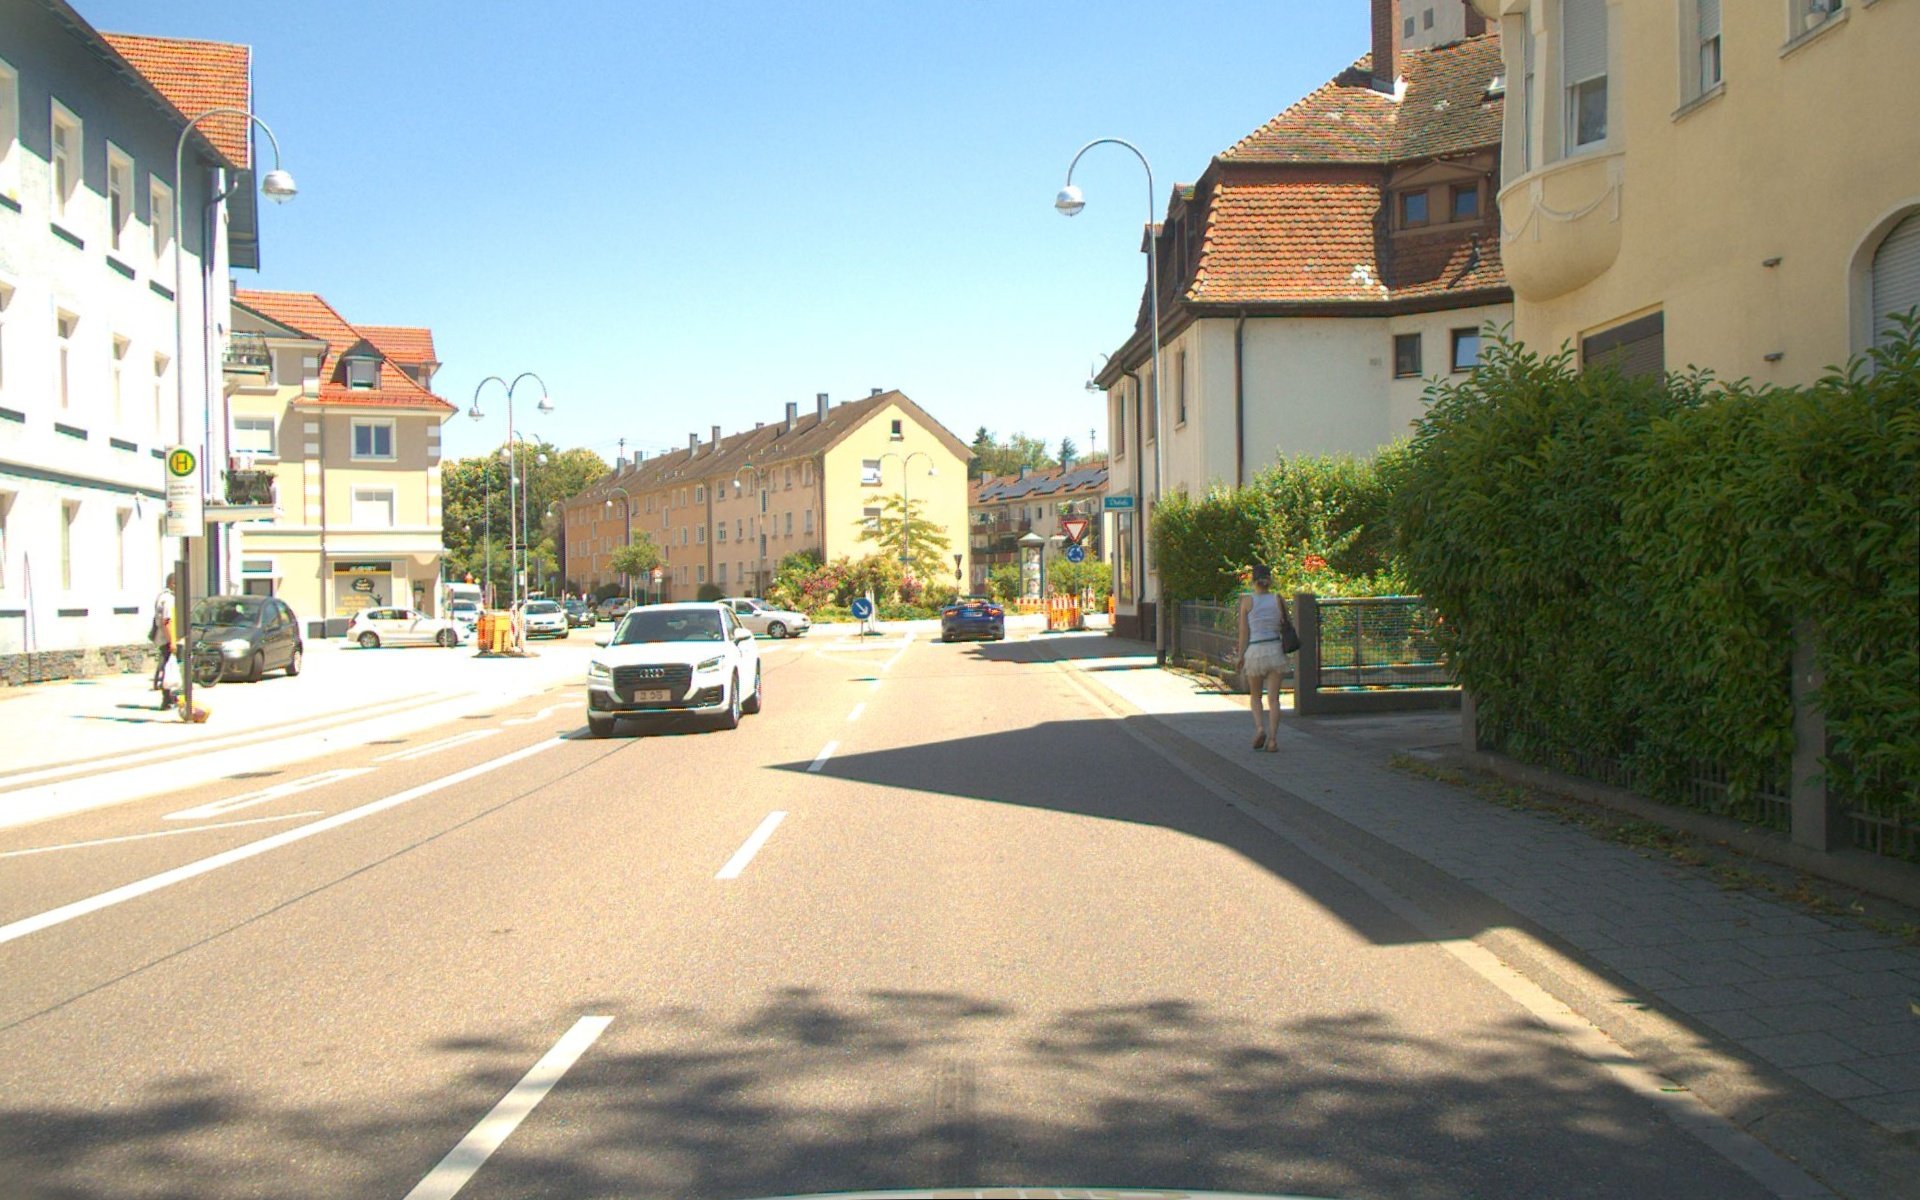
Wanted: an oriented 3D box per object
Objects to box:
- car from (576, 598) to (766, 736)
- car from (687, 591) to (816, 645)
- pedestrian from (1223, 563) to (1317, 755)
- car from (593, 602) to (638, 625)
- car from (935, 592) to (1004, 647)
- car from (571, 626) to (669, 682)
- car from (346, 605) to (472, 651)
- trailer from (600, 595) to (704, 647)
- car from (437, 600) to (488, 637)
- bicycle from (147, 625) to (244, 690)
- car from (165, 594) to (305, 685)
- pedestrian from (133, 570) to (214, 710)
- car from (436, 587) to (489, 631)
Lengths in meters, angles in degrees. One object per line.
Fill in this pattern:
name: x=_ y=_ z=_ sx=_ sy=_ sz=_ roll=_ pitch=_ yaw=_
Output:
car: x=-3.557 y=0.821 z=20.983 sx=1.784 sy=1.557 sz=3.948 roll=-1 pitch=-2 yaw=-1
car: x=-7.167 y=0.616 z=56.944 sx=4.027 sy=1.778 sz=1.788 roll=0 pitch=-1 yaw=13
pedestrian: x=2.799 y=0.520 z=14.986 sx=0.611 sy=1.672 sz=0.771 roll=-2 pitch=-1 yaw=-4
car: x=-22.908 y=0.903 z=109.903 sx=1.793 sy=1.526 sz=3.961 roll=1 pitch=-1 yaw=-29
car: x=0.245 y=0.634 z=49.896 sx=1.833 sy=1.557 sz=4.503 roll=-1 pitch=-2 yaw=-3
car: x=-13.336 y=2.097 z=65.147 sx=1.799 sy=1.555 sz=4.398 roll=-6 pitch=3 yaw=17
car: x=-19.479 y=0.983 z=58.634 sx=4.044 sy=1.578 sz=1.781 roll=1 pitch=-1 yaw=-13
trailer: x=-10.734 y=0.727 z=57.717 sx=3.119 sy=1.747 sz=1.758 roll=0 pitch=-1 yaw=14
car: x=-23.921 y=0.888 z=79.424 sx=1.752 sy=1.715 sz=4.659 roll=-1 pitch=0 yaw=-24
bicycle: x=-12.373 y=0.915 z=26.839 sx=0.485 sy=0.994 sz=1.974 roll=3 pitch=-1 yaw=4
car: x=-13.386 y=0.744 z=30.746 sx=1.549 sy=1.561 sz=3.765 roll=0 pitch=-2 yaw=-10
pedestrian: x=-10.874 y=0.551 z=22.896 sx=0.741 sy=1.880 sz=0.770 roll=2 pitch=-1 yaw=-9
car: x=-30.355 y=0.550 z=100.845 sx=2.118 sy=2.577 sz=6.185 roll=1 pitch=-1 yaw=-26
